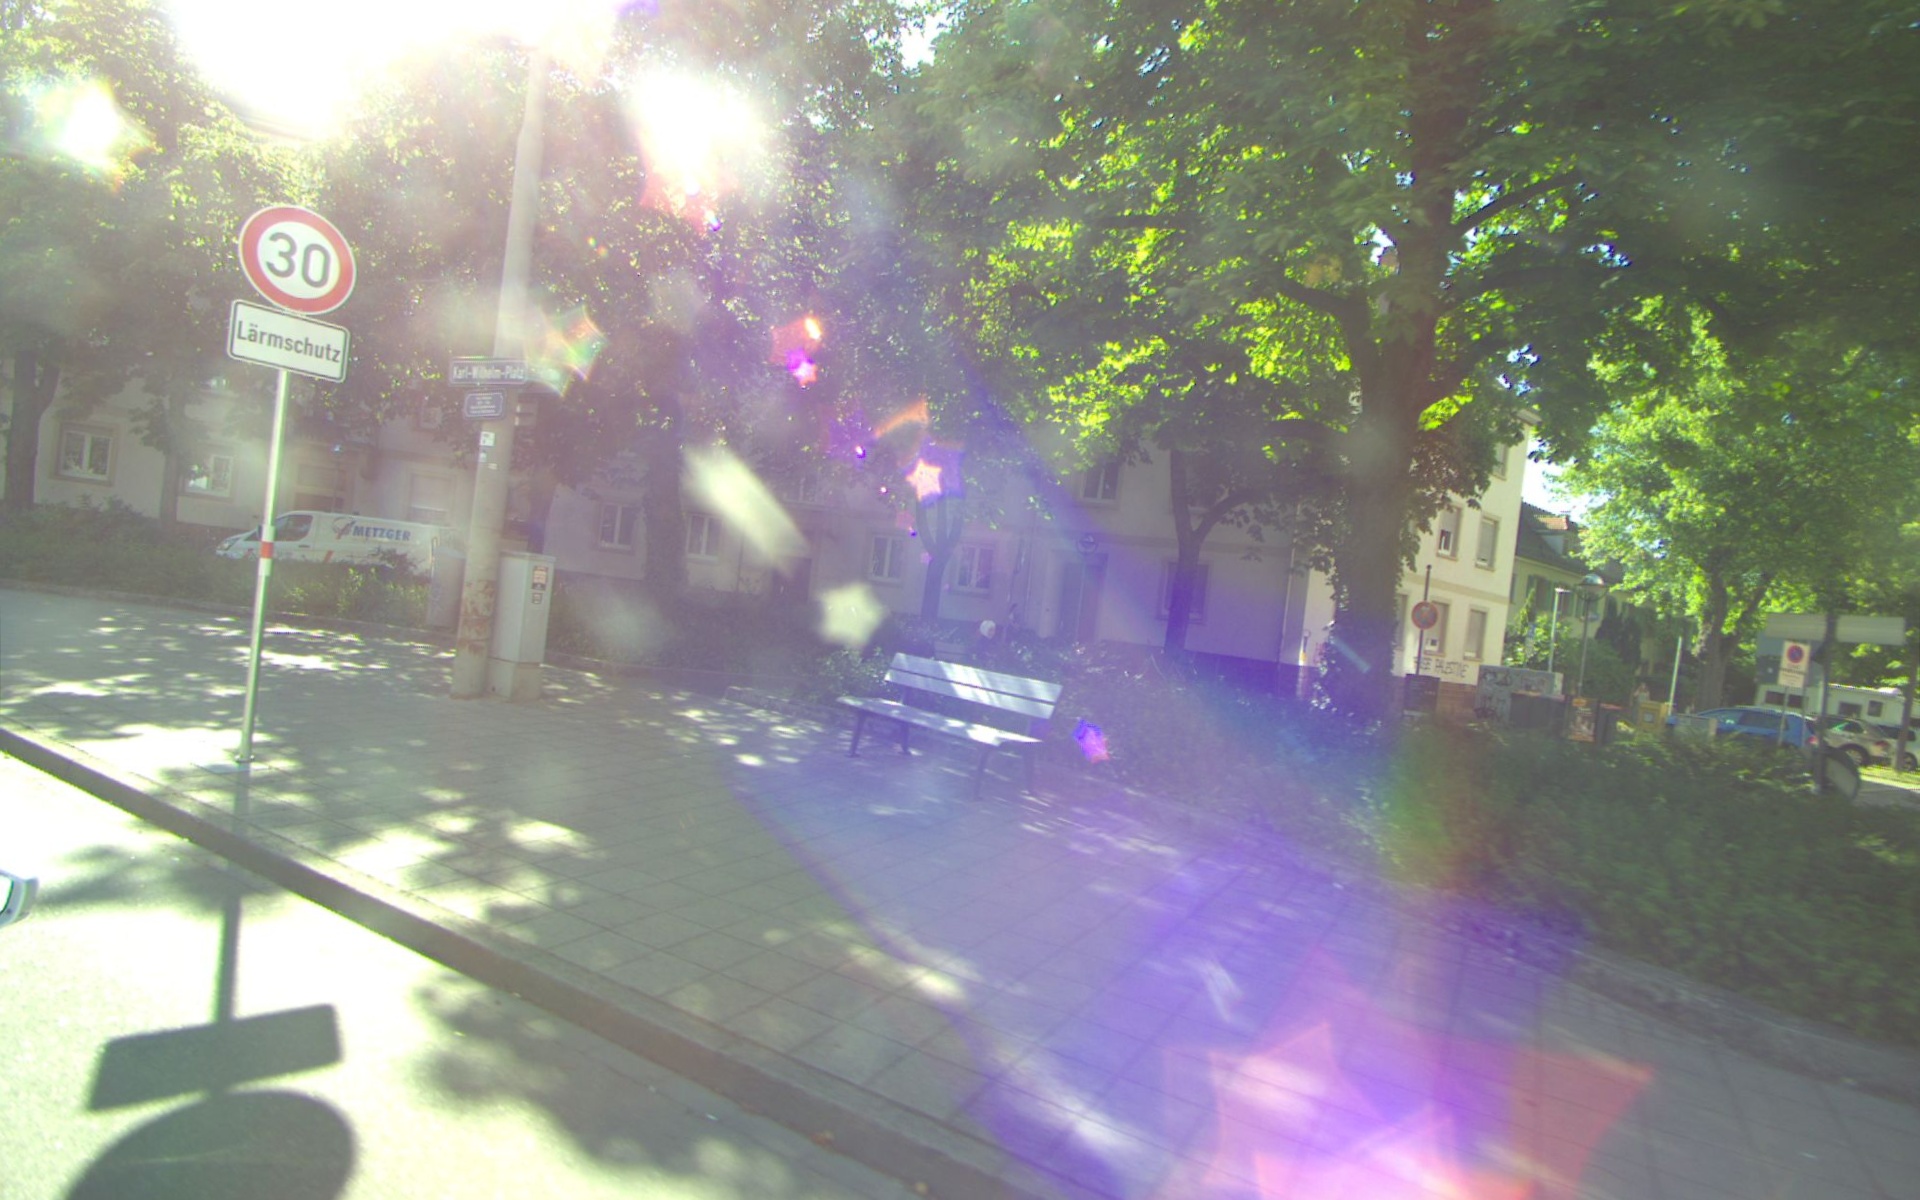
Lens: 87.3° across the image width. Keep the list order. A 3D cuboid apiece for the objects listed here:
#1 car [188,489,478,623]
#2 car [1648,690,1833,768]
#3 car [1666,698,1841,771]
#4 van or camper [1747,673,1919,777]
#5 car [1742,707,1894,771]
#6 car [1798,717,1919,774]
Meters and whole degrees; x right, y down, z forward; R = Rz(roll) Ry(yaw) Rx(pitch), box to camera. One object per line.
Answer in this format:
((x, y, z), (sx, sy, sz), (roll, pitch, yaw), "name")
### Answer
((-13.871, -0.900, 22.559), (4.859, 2.234, 2.124), (7, -1, -7), "car")
((21.105, 3.461, 27.270), (3.752, 1.494, 1.595), (5, -2, 43), "car")
((22.805, 3.833, 28.983), (3.752, 1.494, 1.595), (5, -2, 43), "car")
((36.596, 5.102, 40.835), (2.612, 3.425, 6.702), (8, -2, -40), "van or camper")
((29.069, 4.687, 34.173), (3.752, 1.543, 1.595), (5, -2, 43), "car")
((33.574, 5.405, 37.246), (3.752, 1.543, 1.595), (5, -2, 43), "car")
